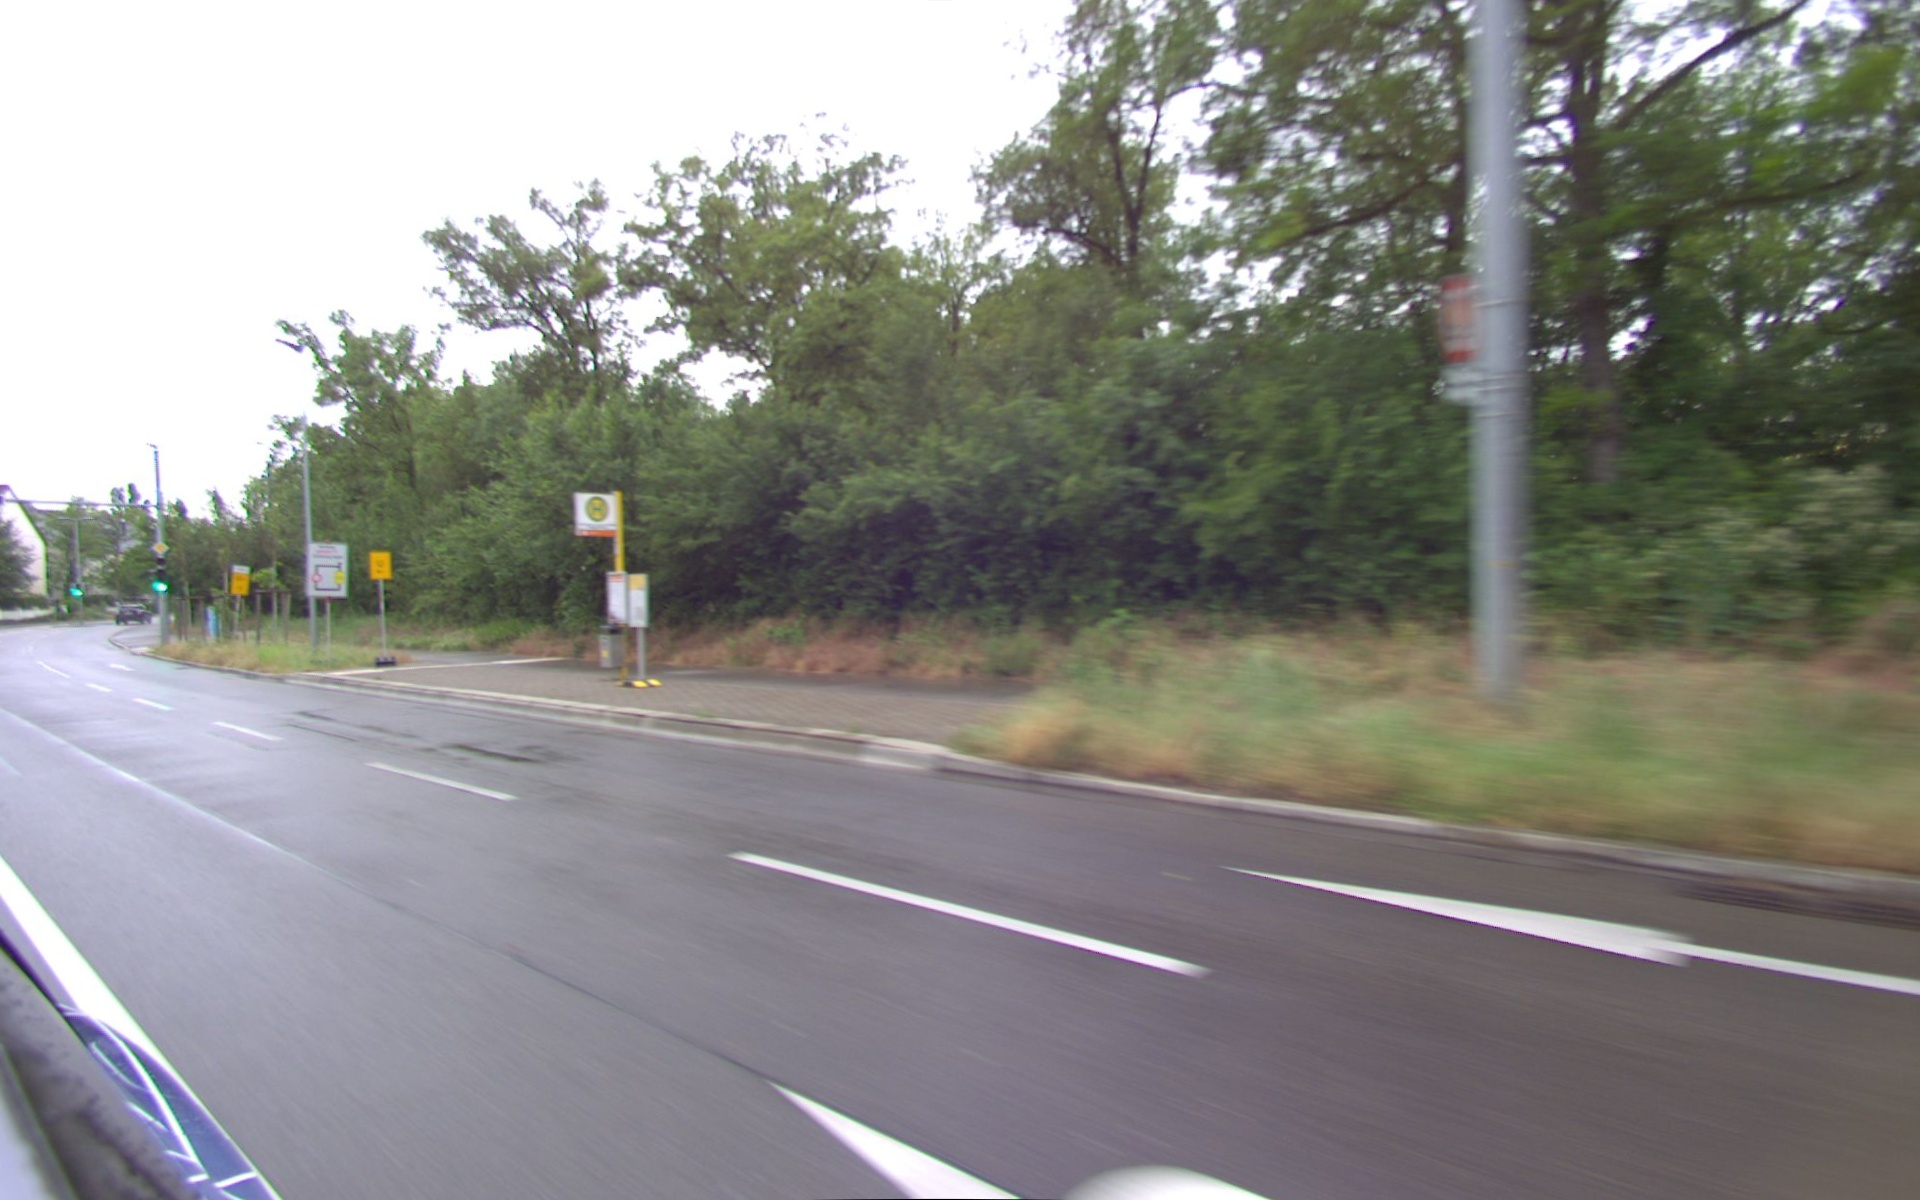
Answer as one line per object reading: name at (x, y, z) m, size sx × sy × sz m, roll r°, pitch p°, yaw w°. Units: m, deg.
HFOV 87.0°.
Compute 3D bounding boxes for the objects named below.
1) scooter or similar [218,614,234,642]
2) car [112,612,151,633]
scooter or similar at (-33.866, 1.282, 46.674) m, size 0.511 × 1.221 × 1.472 m, roll -2°, pitch 1°, yaw -39°
car at (-66.311, 1.795, 81.061) m, size 1.764 × 1.593 × 4.575 m, roll -1°, pitch 0°, yaw -31°
